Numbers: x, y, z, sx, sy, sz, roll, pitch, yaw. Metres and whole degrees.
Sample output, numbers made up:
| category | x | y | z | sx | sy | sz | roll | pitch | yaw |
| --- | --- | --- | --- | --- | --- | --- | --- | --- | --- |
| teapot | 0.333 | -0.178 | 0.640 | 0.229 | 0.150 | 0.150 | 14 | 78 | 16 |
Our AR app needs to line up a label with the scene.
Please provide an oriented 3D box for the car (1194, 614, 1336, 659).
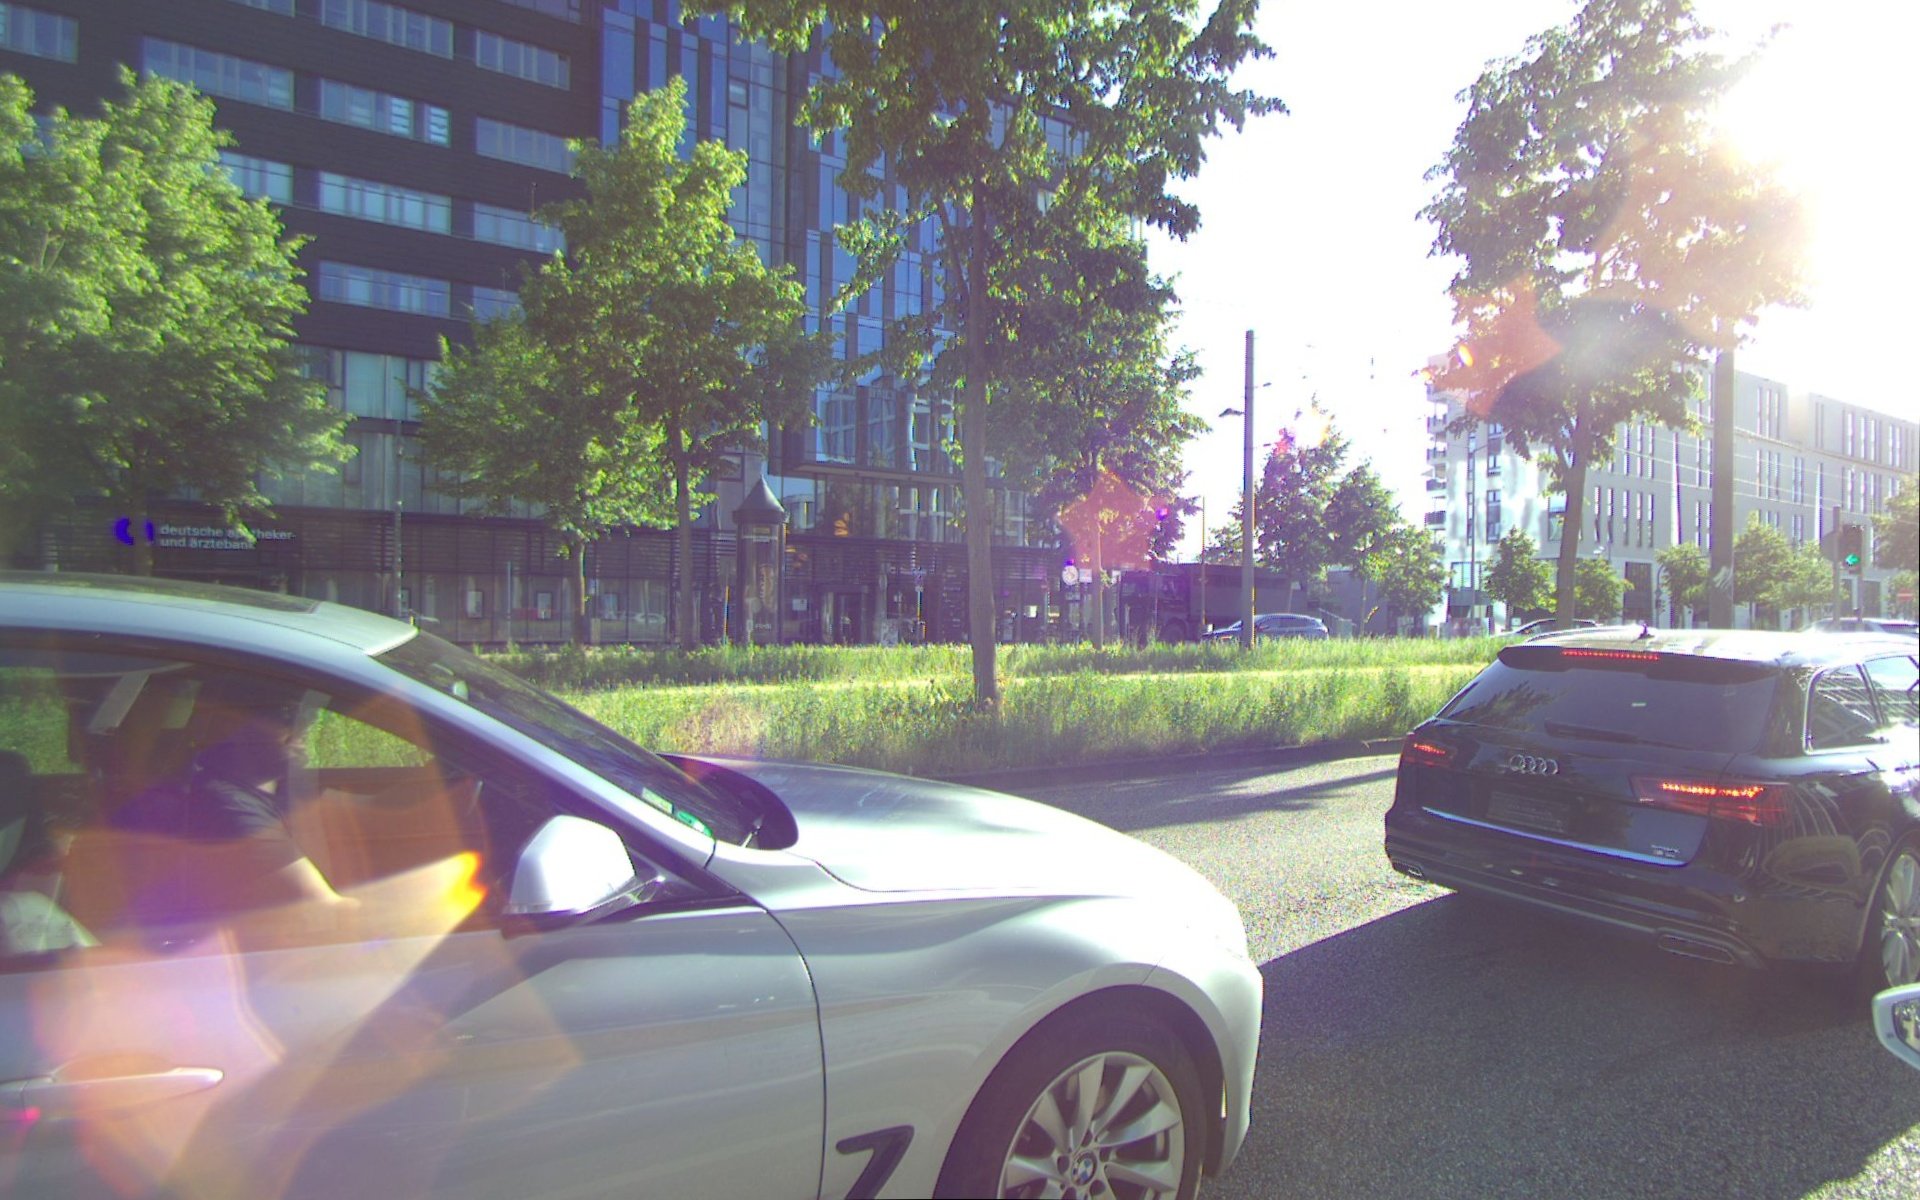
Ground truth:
| category | x | y | z | sx | sy | sz | roll | pitch | yaw |
| --- | --- | --- | --- | --- | --- | --- | --- | --- | --- |
| car | 10.497 | 1.246 | 34.592 | 4.498 | 1.467 | 1.797 | 1 | -1 | -19 |

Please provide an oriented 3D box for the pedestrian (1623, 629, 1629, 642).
| category | x | y | z | sx | sy | sz | roll | pitch | yaw |
| --- | --- | --- | --- | --- | --- | --- | --- | --- | --- |
| pedestrian | 53.304 | 2.841 | 80.408 | 0.286 | 1.100 | 0.252 | 1 | 0 | -30 |

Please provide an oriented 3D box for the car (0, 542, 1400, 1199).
| category | x | y | z | sx | sy | sz | roll | pitch | yaw |
| --- | --- | --- | --- | --- | --- | --- | --- | --- | --- |
| car | -1.324 | 0.696 | 2.030 | 4.509 | 1.504 | 1.810 | 1 | -1 | -31 |

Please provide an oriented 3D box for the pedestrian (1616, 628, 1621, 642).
| category | x | y | z | sx | sy | sz | roll | pitch | yaw |
| --- | --- | --- | --- | --- | --- | --- | --- | --- | --- |
| pedestrian | 52.960 | 2.813 | 80.783 | 0.257 | 1.100 | 0.252 | 1 | 0 | -30 |

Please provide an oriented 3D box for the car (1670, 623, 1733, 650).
| category | x | y | z | sx | sy | sz | roll | pitch | yaw |
| --- | --- | --- | --- | --- | --- | --- | --- | --- | --- |
| car | 51.472 | 2.517 | 69.680 | 4.319 | 1.838 | 1.984 | 1 | -1 | -30 |

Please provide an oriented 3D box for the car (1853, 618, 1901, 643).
| category | x | y | z | sx | sy | sz | roll | pitch | yaw |
| --- | --- | --- | --- | --- | --- | --- | --- | --- | --- |
| car | 78.098 | 2.597 | 85.529 | 3.953 | 2.040 | 1.984 | 1 | -1 | -30 |

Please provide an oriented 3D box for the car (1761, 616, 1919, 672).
| category | x | y | z | sx | sy | sz | roll | pitch | yaw |
| --- | --- | --- | --- | --- | --- | --- | --- | --- | --- |
| car | 25.846 | 1.236 | 29.377 | 1.489 | 1.512 | 4.216 | 1 | -1 | 1 |

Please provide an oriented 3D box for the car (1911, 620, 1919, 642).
| category | x | y | z | sx | sy | sz | roll | pitch | yaw |
| --- | --- | --- | --- | --- | --- | --- | --- | --- | --- |
| car | 90.297 | 2.883 | 93.145 | 3.953 | 2.040 | 1.984 | 1 | -1 | -30 |

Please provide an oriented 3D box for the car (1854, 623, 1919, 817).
| category | x | y | z | sx | sy | sz | roll | pitch | yaw |
| --- | --- | --- | --- | --- | --- | --- | --- | --- | --- |
| car | 9.324 | 0.946 | 8.185 | 4.288 | 1.445 | 1.833 | 1 | -1 | -30 |

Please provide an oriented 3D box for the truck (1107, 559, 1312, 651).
| category | x | y | z | sx | sy | sz | roll | pitch | yaw |
| --- | --- | --- | --- | --- | --- | --- | --- | --- | --- |
| truck | 11.700 | 0.304 | 46.496 | 10.094 | 3.904 | 2.877 | 1 | -1 | -31 |

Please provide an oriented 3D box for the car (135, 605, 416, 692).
| category | x | y | z | sx | sy | sz | roll | pitch | yaw |
| --- | --- | --- | --- | --- | --- | --- | --- | --- | --- |
| car | -13.660 | 0.939 | 20.398 | 4.516 | 1.503 | 1.790 | 1 | 3 | -31 |

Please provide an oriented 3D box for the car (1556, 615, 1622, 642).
| category | x | y | z | sx | sy | sz | roll | pitch | yaw |
| --- | --- | --- | --- | --- | --- | --- | --- | --- | --- |
| car | 37.534 | 1.689 | 59.904 | 3.953 | 1.540 | 1.756 | 1 | -1 | -30 |

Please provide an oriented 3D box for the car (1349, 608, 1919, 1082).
| category | x | y | z | sx | sy | sz | roll | pitch | yaw |
| --- | --- | --- | --- | --- | --- | --- | --- | --- | --- |
| car | 4.429 | 0.834 | 5.292 | 4.911 | 1.504 | 1.864 | 1 | -1 | -32 |

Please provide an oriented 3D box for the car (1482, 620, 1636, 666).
| category | x | y | z | sx | sy | sz | roll | pitch | yaw |
| --- | --- | --- | --- | --- | --- | --- | --- | --- | --- |
| car | 21.185 | 1.491 | 35.746 | 4.480 | 1.467 | 1.804 | 1 | -1 | 22 |
